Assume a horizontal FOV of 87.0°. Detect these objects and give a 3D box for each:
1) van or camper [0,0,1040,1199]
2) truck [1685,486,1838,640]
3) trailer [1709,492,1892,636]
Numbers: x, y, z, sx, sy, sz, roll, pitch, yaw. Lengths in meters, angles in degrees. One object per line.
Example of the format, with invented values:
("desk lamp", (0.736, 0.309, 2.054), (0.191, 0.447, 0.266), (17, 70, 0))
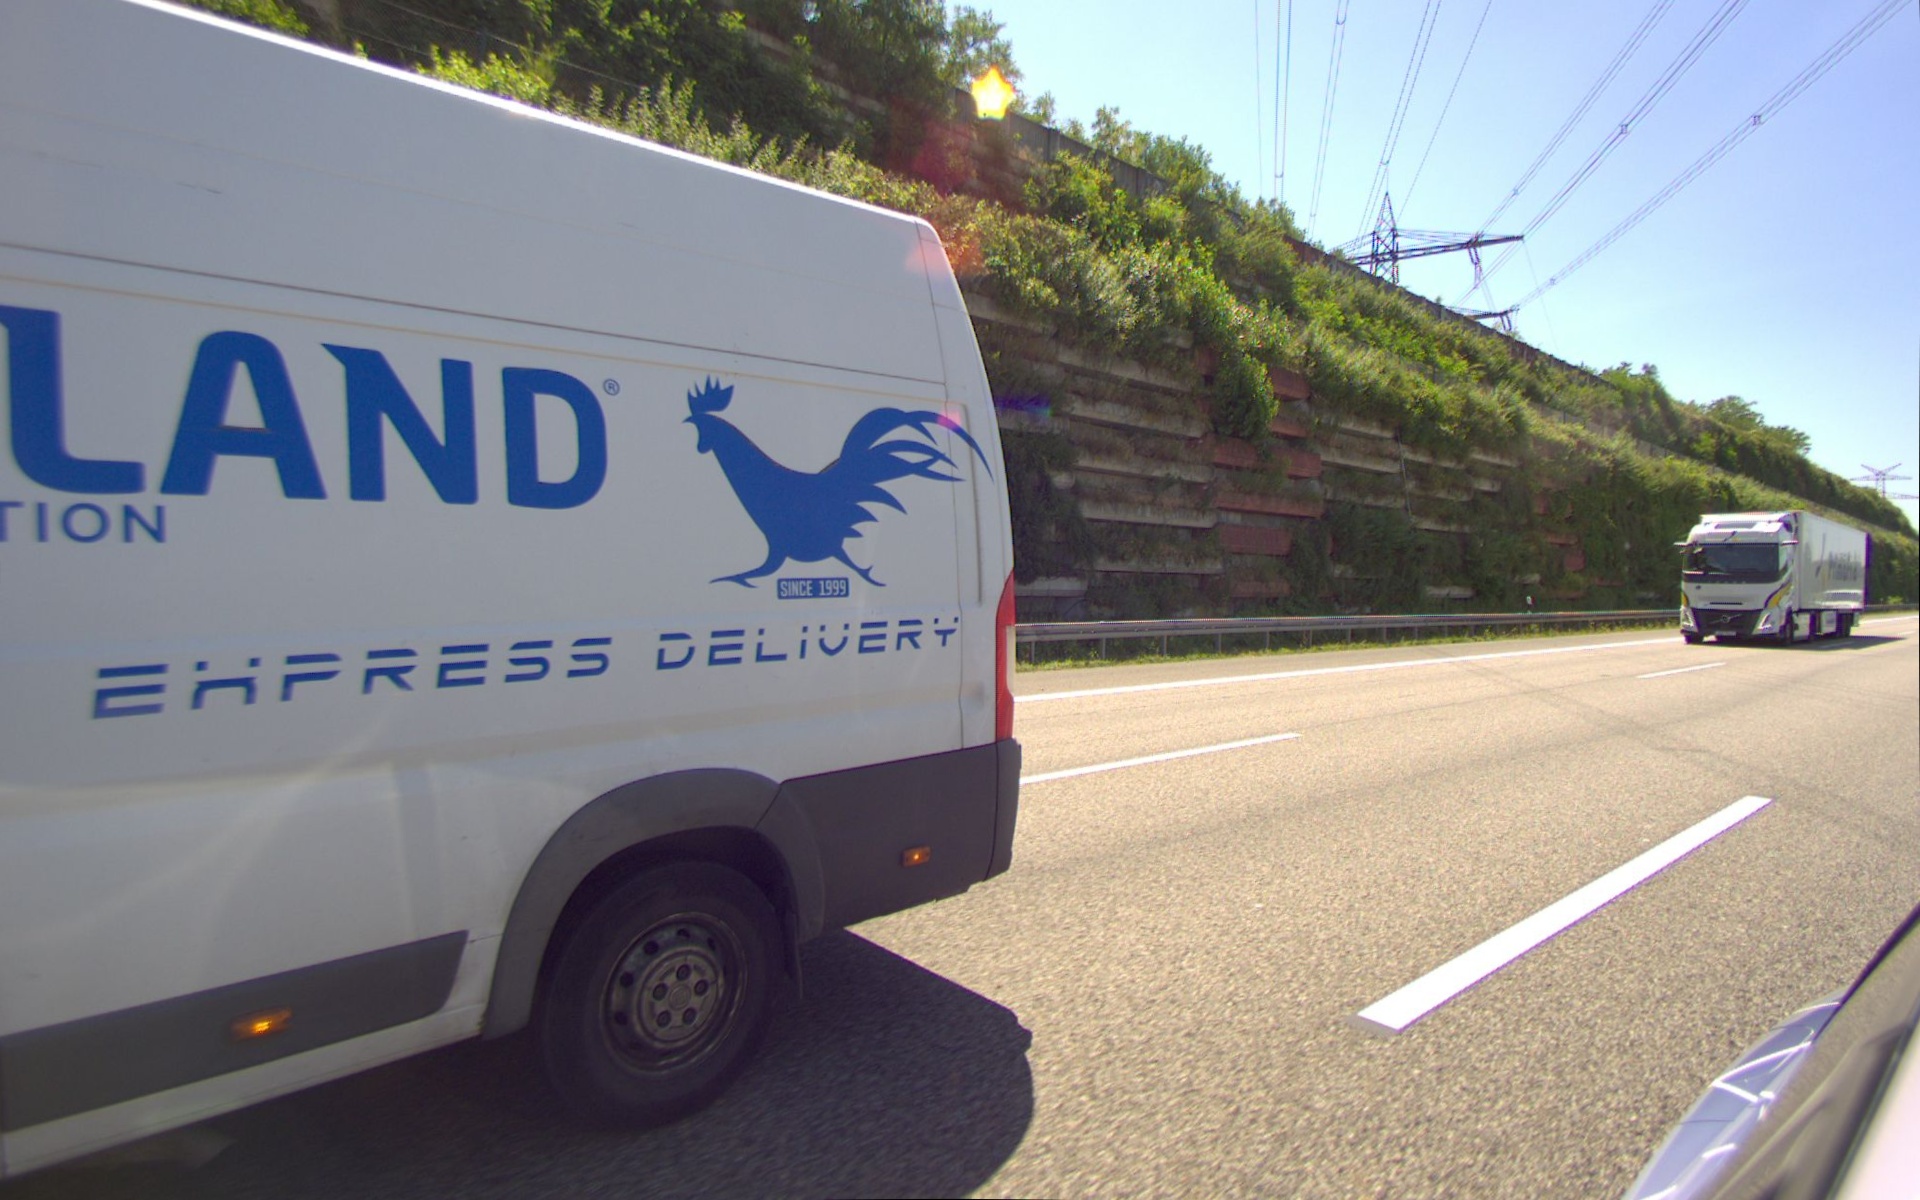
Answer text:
("van or camper", (-2.912, -0.056, 2.078), (6.640, 2.803, 2.100), (0, 1, -42))
("truck", (24.808, -1.105, 31.223), (6.147, 4.272, 2.512), (-1, 2, -41))
("trailer", (30.765, -1.144, 36.539), (16.732, 4.264, 2.519), (0, 2, -42))
